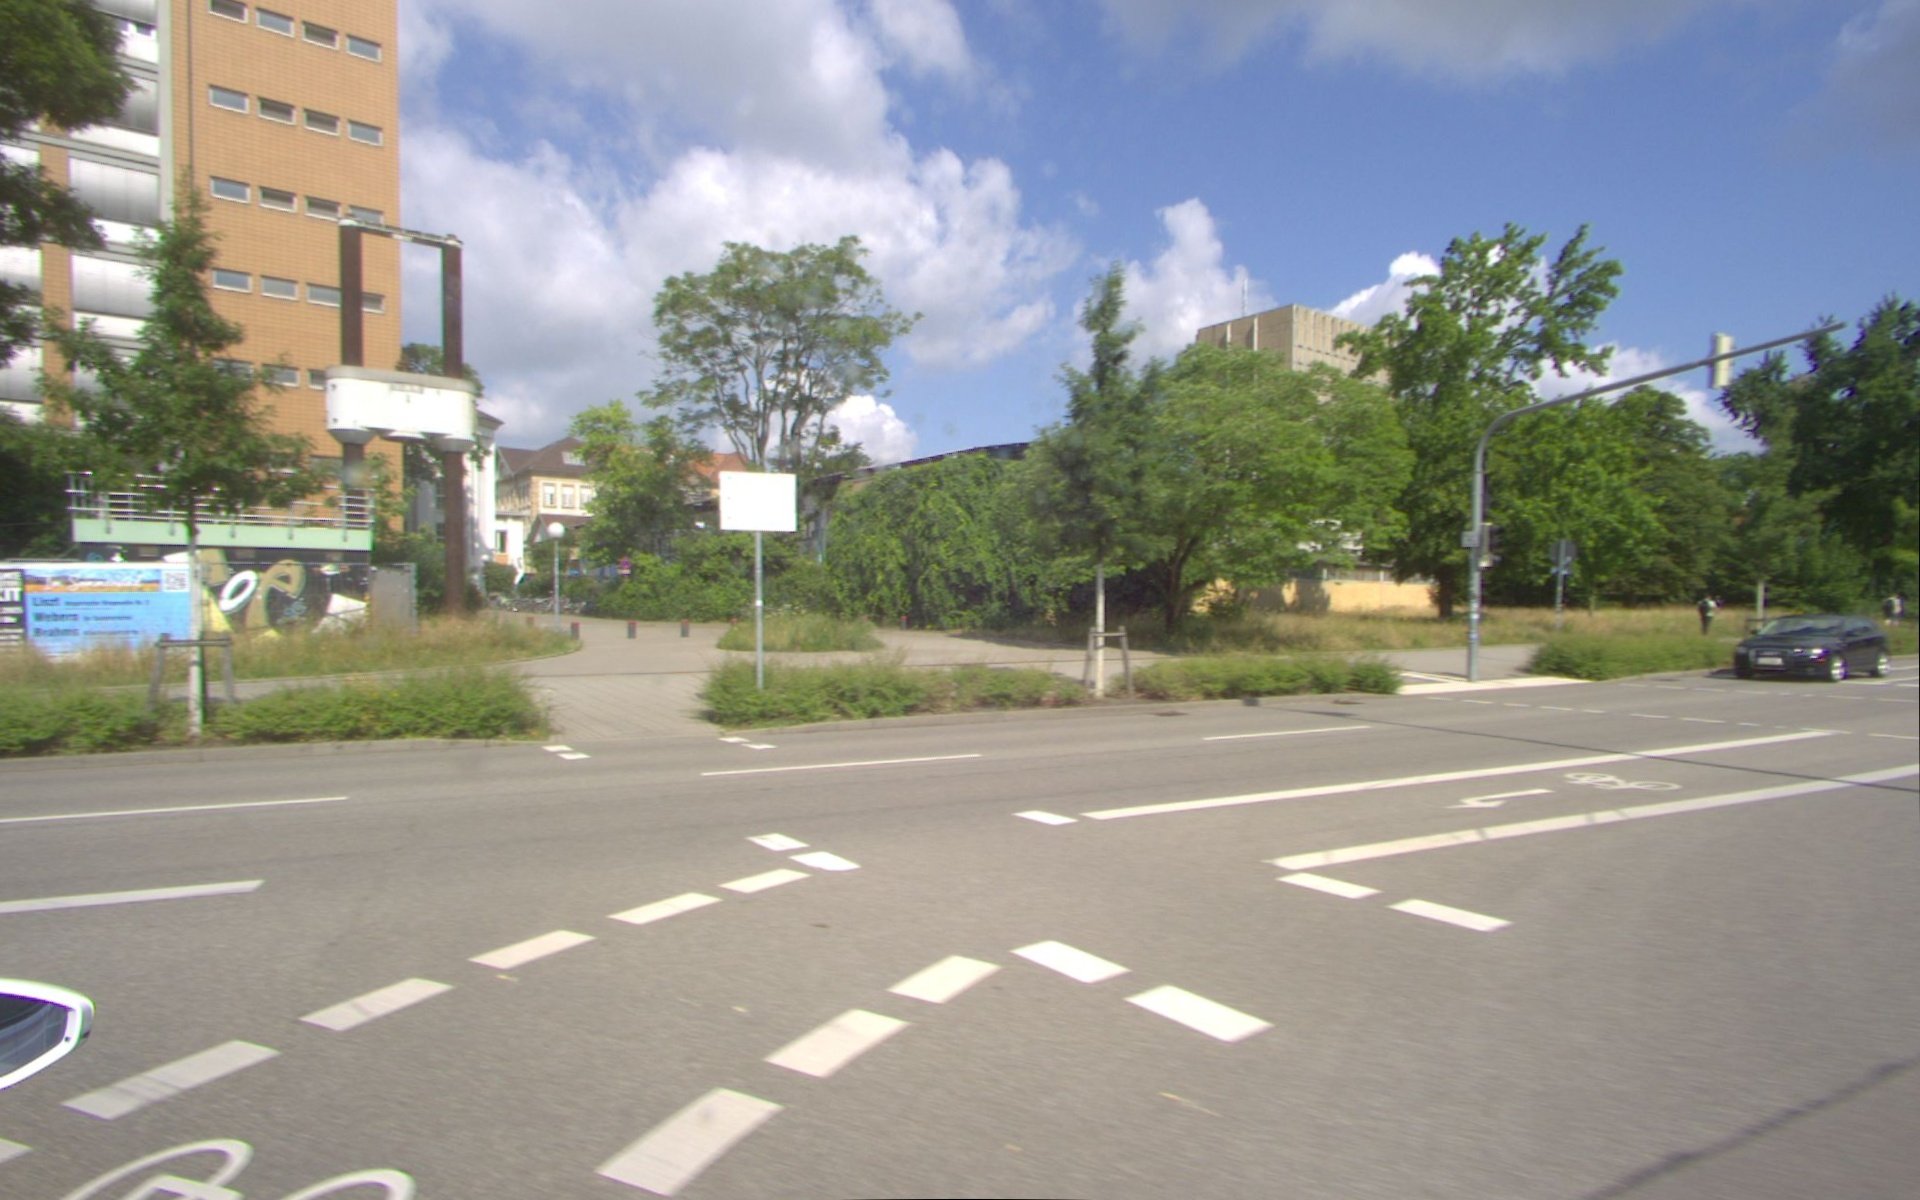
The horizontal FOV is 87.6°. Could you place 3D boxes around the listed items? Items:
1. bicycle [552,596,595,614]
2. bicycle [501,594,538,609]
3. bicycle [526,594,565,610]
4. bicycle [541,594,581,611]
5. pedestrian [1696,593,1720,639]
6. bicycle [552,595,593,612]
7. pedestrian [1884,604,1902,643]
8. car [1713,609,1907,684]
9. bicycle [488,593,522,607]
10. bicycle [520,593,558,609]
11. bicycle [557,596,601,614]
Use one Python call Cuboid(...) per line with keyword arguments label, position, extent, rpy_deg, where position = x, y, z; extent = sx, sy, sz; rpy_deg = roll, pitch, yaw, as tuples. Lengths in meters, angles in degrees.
Cuboid(label="bicycle", position=(-20.944, 0.268, 54.219), extent=(2.036, 0.949, 0.798), rpy_deg=(0, 1, -37))
Cuboid(label="bicycle", position=(-28.174, 0.077, 64.030), extent=(2.036, 0.949, 0.798), rpy_deg=(0, 1, -37))
Cuboid(label="bicycle", position=(-24.971, 0.096, 60.371), extent=(2.036, 0.949, 0.798), rpy_deg=(0, 1, -37))
Cuboid(label="bicycle", position=(-22.969, 0.138, 57.664), extent=(2.036, 0.949, 0.798), rpy_deg=(0, 1, -37))
Cuboid(label="pedestrian", position=(27.145, 0.572, 36.353), extent=(0.518, 1.629, 0.537), rpy_deg=(2, 0, -39))
Cuboid(label="bicycle", position=(-21.934, 0.166, 56.743), extent=(2.036, 0.949, 0.798), rpy_deg=(0, 1, -37))
Cuboid(label="pedestrian", position=(44.291, 1.117, 47.533), extent=(0.518, 1.791, 0.537), rpy_deg=(2, 0, -39))
Cuboid(label="car", position=(18.473, 0.941, 21.730), extent=(4.102, 1.396, 1.988), rpy_deg=(0, 2, -31))
Cuboid(label="bicycle", position=(-30.865, -0.029, 67.930), extent=(2.036, 0.949, 0.798), rpy_deg=(0, 1, -37))
Cuboid(label="bicycle", position=(-25.694, 0.080, 61.138), extent=(2.036, 0.949, 0.798), rpy_deg=(0, 1, -37))
Cuboid(label="bicycle", position=(-20.126, 0.248, 52.879), extent=(2.036, 0.949, 0.798), rpy_deg=(0, 1, -37))
